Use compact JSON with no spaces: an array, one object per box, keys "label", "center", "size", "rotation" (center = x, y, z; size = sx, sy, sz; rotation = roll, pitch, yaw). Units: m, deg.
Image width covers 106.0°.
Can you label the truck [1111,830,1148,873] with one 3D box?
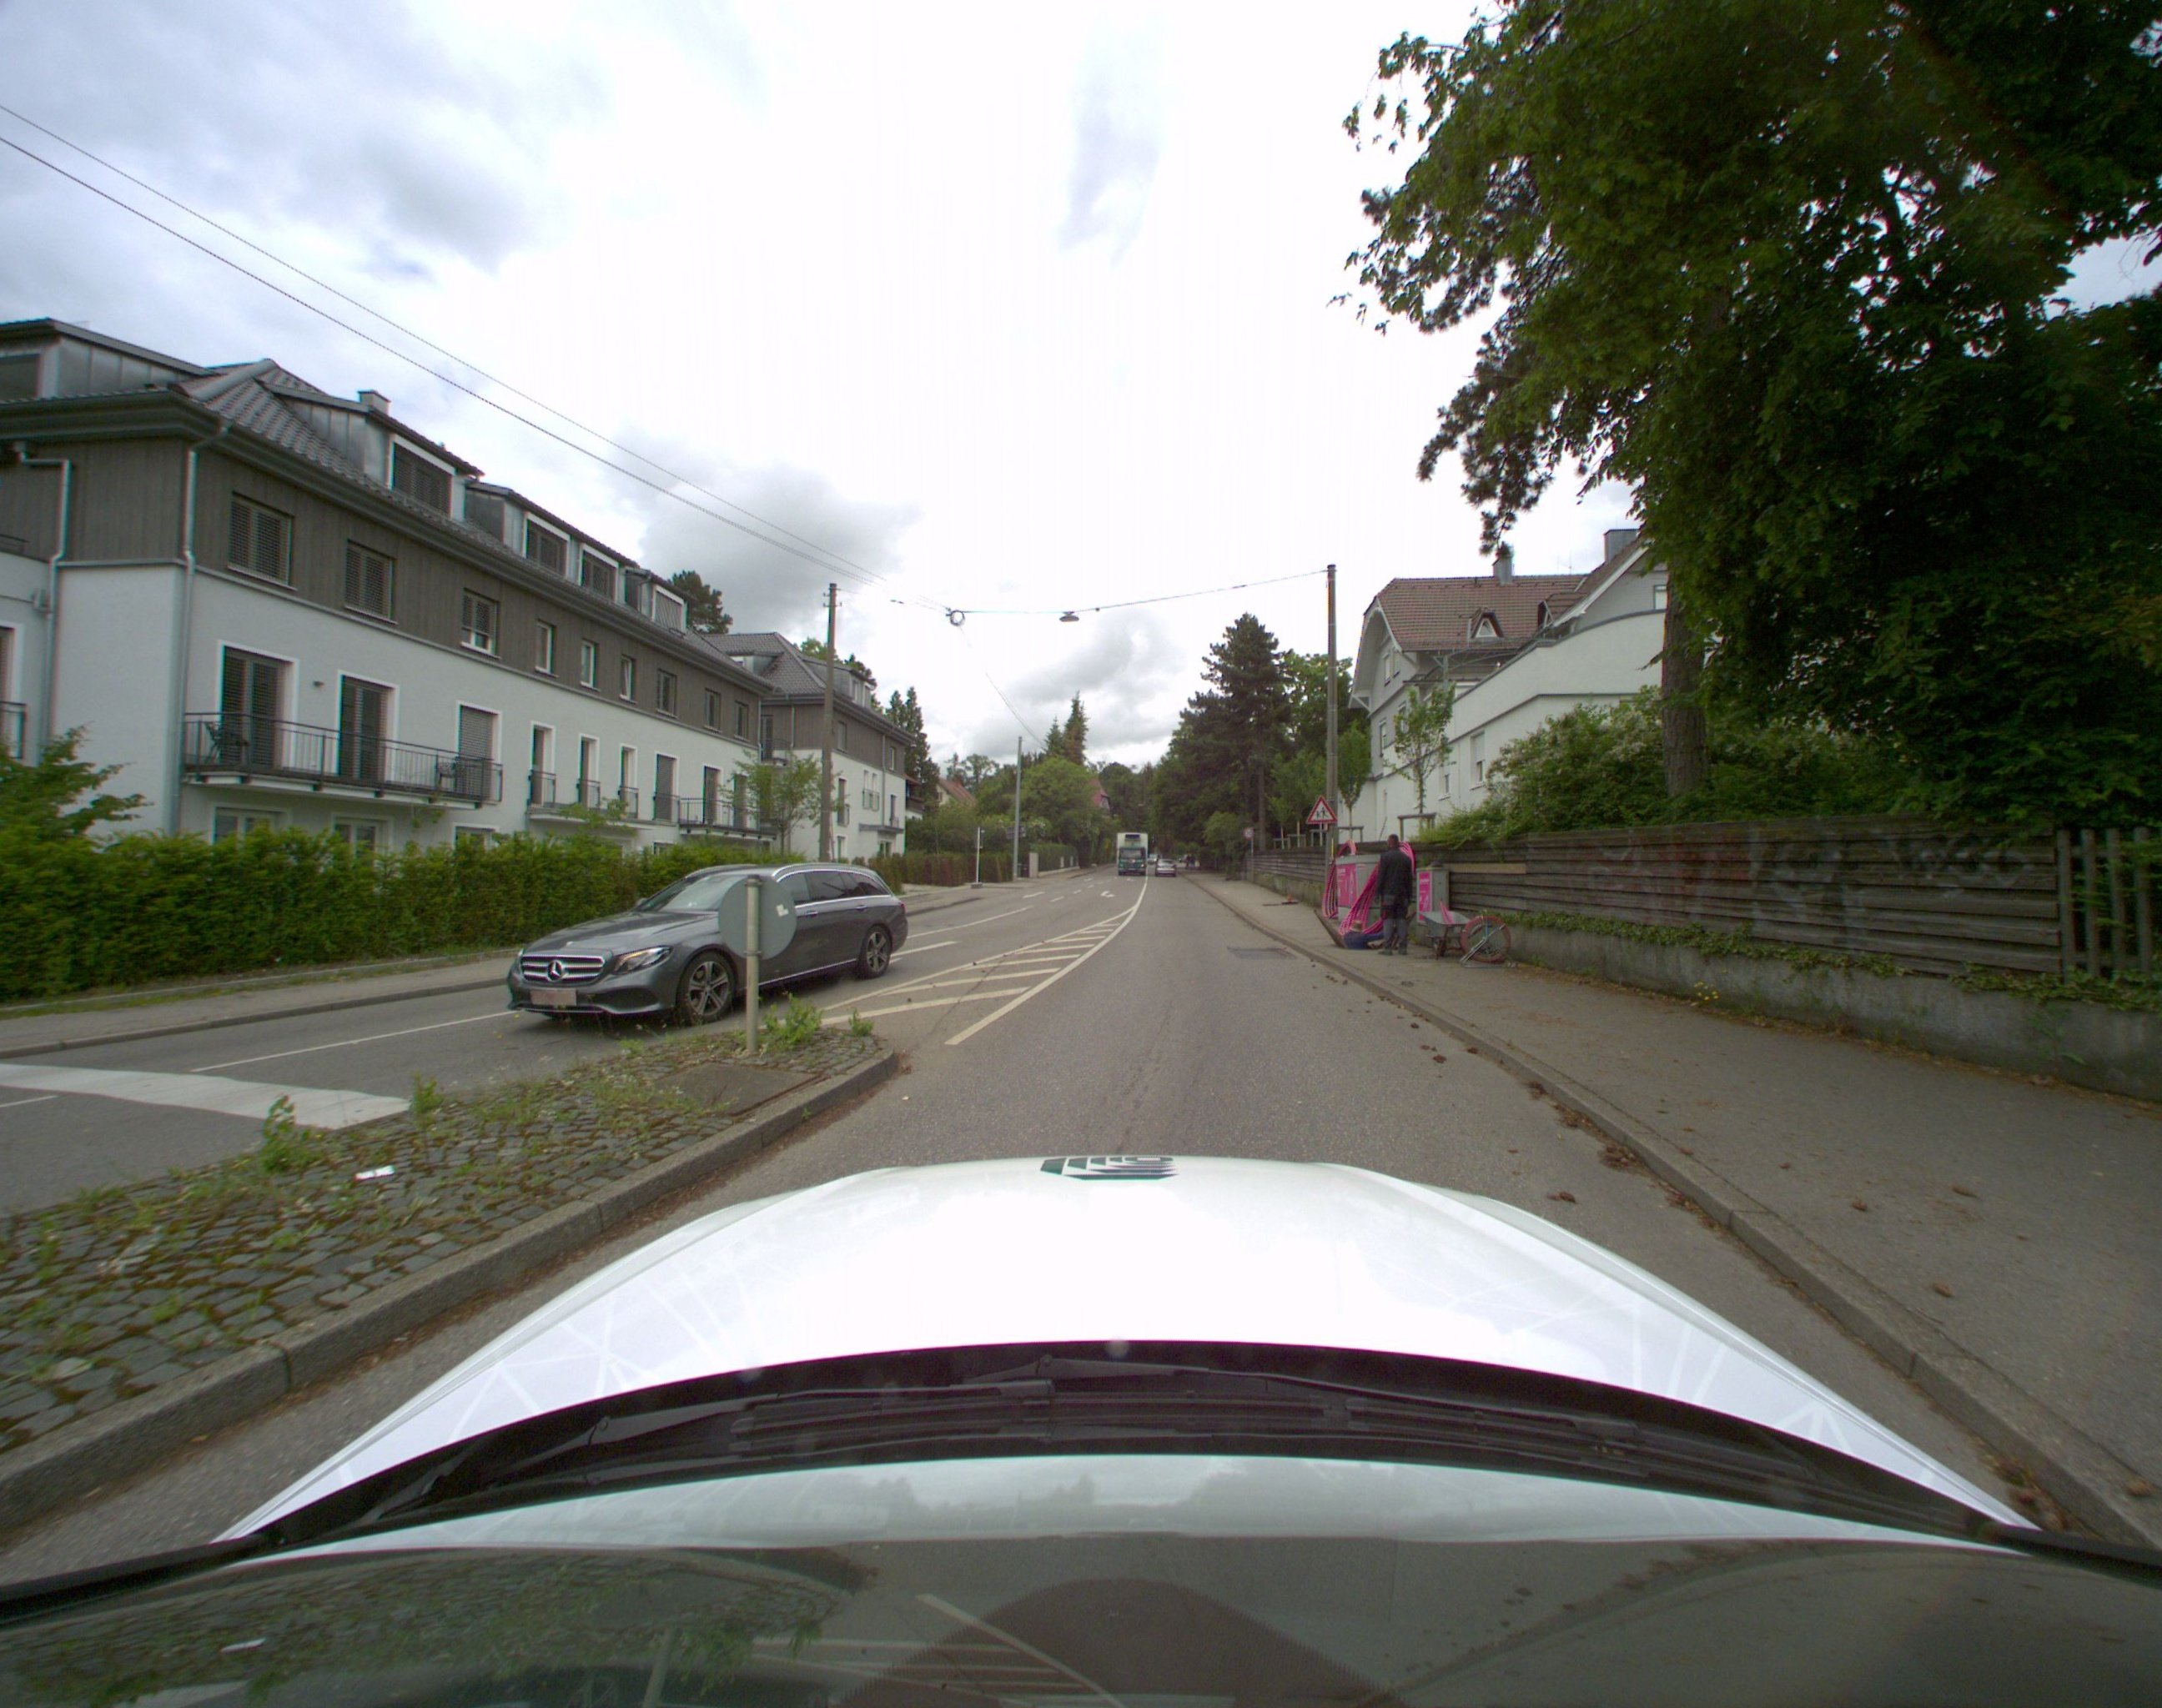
[{"label":"truck","center":[4.074,-0.108,69.577],"size":[2.768,3.461,7.493],"rotation":[0,-1,0]}]

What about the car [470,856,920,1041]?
[{"label":"car","center":[-3.825,0.801,9.242],"size":[1.811,1.485,4.770],"rotation":[-1,0,18]}]

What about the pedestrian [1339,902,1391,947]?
[{"label":"pedestrian","center":[4.895,1.205,14.043],"size":[0.649,0.696,0.578],"rotation":[0,0,-36]}]

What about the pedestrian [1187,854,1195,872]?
[{"label":"pedestrian","center":[11.669,0.953,86.597],"size":[0.803,1.807,0.742],"rotation":[0,0,4]}]

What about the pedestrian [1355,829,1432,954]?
[{"label":"pedestrian","center":[4.983,0.580,13.009],"size":[0.847,1.923,0.797],"rotation":[0,0,-15]}]

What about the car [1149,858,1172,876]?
[{"label":"car","center":[6.572,1.108,67.168],"size":[1.788,1.415,4.343],"rotation":[0,-1,6]}]
